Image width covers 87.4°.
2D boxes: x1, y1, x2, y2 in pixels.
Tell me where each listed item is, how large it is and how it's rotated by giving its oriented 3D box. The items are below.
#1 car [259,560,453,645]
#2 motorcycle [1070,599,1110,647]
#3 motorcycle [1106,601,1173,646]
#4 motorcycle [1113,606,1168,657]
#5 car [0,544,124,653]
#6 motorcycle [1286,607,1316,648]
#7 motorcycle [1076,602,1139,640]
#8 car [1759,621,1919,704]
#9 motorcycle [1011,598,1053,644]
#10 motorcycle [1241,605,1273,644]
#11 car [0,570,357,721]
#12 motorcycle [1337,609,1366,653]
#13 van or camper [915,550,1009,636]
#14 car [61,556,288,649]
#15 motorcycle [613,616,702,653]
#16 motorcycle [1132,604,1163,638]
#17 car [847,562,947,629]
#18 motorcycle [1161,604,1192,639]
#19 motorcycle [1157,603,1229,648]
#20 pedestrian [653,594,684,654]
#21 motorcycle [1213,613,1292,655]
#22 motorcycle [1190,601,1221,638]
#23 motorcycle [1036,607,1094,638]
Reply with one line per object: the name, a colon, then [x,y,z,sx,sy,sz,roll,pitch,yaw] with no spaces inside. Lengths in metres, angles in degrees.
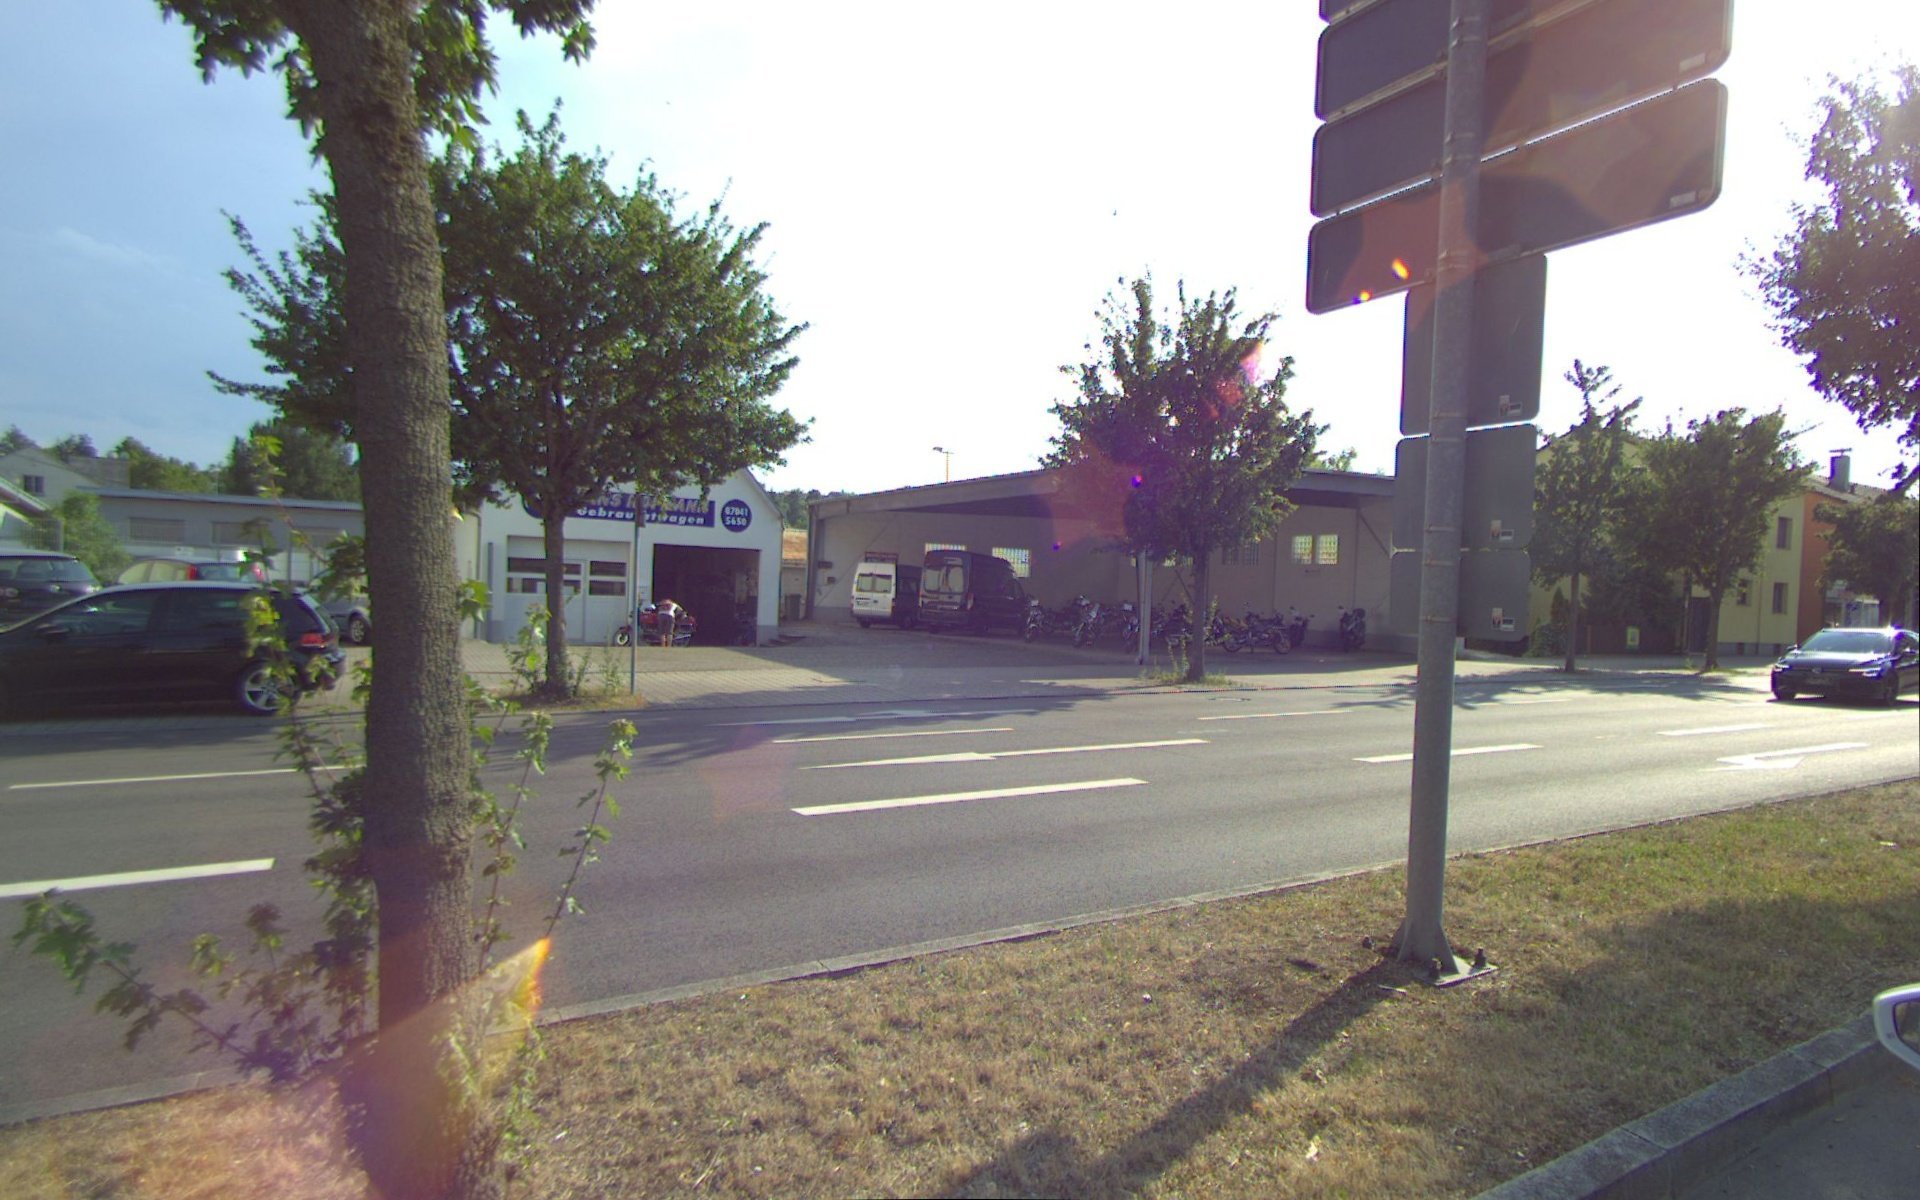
car: [-12.300,0.021,20.407,3.930,1.572,1.764,1,0,32]
motorcycle: [3.785,0.665,29.069,0.637,1.329,2.007,1,0,22]
motorcycle: [6.024,0.786,33.728,2.112,1.468,0.594,1,0,-1]
motorcycle: [4.961,0.847,27.509,0.659,1.329,2.001,1,0,36]
car: [-15.627,-0.103,16.230,3.925,1.573,1.766,3,2,26]
motorcycle: [11.425,0.919,33.576,0.553,1.325,2.086,1,0,29]
motorcycle: [5.265,0.738,35.899,2.112,1.275,0.647,1,0,-1]
car: [17.768,1.197,20.145,4.070,1.470,1.756,2,0,-37]
motorcycle: [2.205,0.630,30.445,0.637,1.329,2.007,1,0,22]
motorcycle: [10.606,0.866,35.816,0.612,1.325,2.086,1,0,29]
car: [-9.414,0.481,11.611,4.147,1.463,1.825,2,3,-31]
motorcycle: [12.412,0.964,31.812,0.553,1.325,2.112,1,0,29]
van or camper: [0.175,-0.205,34.532,1.960,2.716,5.040,1,0,15]
car: [-14.696,0.023,18.786,3.925,1.572,1.766,1,0,26]
motorcycle: [-7.948,0.915,26.441,2.183,0.932,0.504,2,0,-28]
motorcycle: [7.477,0.825,39.977,0.553,1.325,2.086,1,0,29]
car: [-2.240,-0.146,37.005,2.157,2.279,4.387,1,0,19]
motorcycle: [8.466,0.832,39.200,0.553,1.325,2.086,1,0,29]
motorcycle: [7.283,0.789,31.455,2.112,1.347,0.563,1,0,-1]
pedestrian: [-7.536,0.614,25.952,0.664,1.543,0.650,1,0,-23]
motorcycle: [8.551,0.988,29.444,2.112,1.139,0.631,1,0,-1]
motorcycle: [9.059,0.722,37.014,0.573,1.325,2.086,1,0,29]
motorcycle: [3.964,0.845,38.118,2.112,1.138,0.563,1,0,-1]
